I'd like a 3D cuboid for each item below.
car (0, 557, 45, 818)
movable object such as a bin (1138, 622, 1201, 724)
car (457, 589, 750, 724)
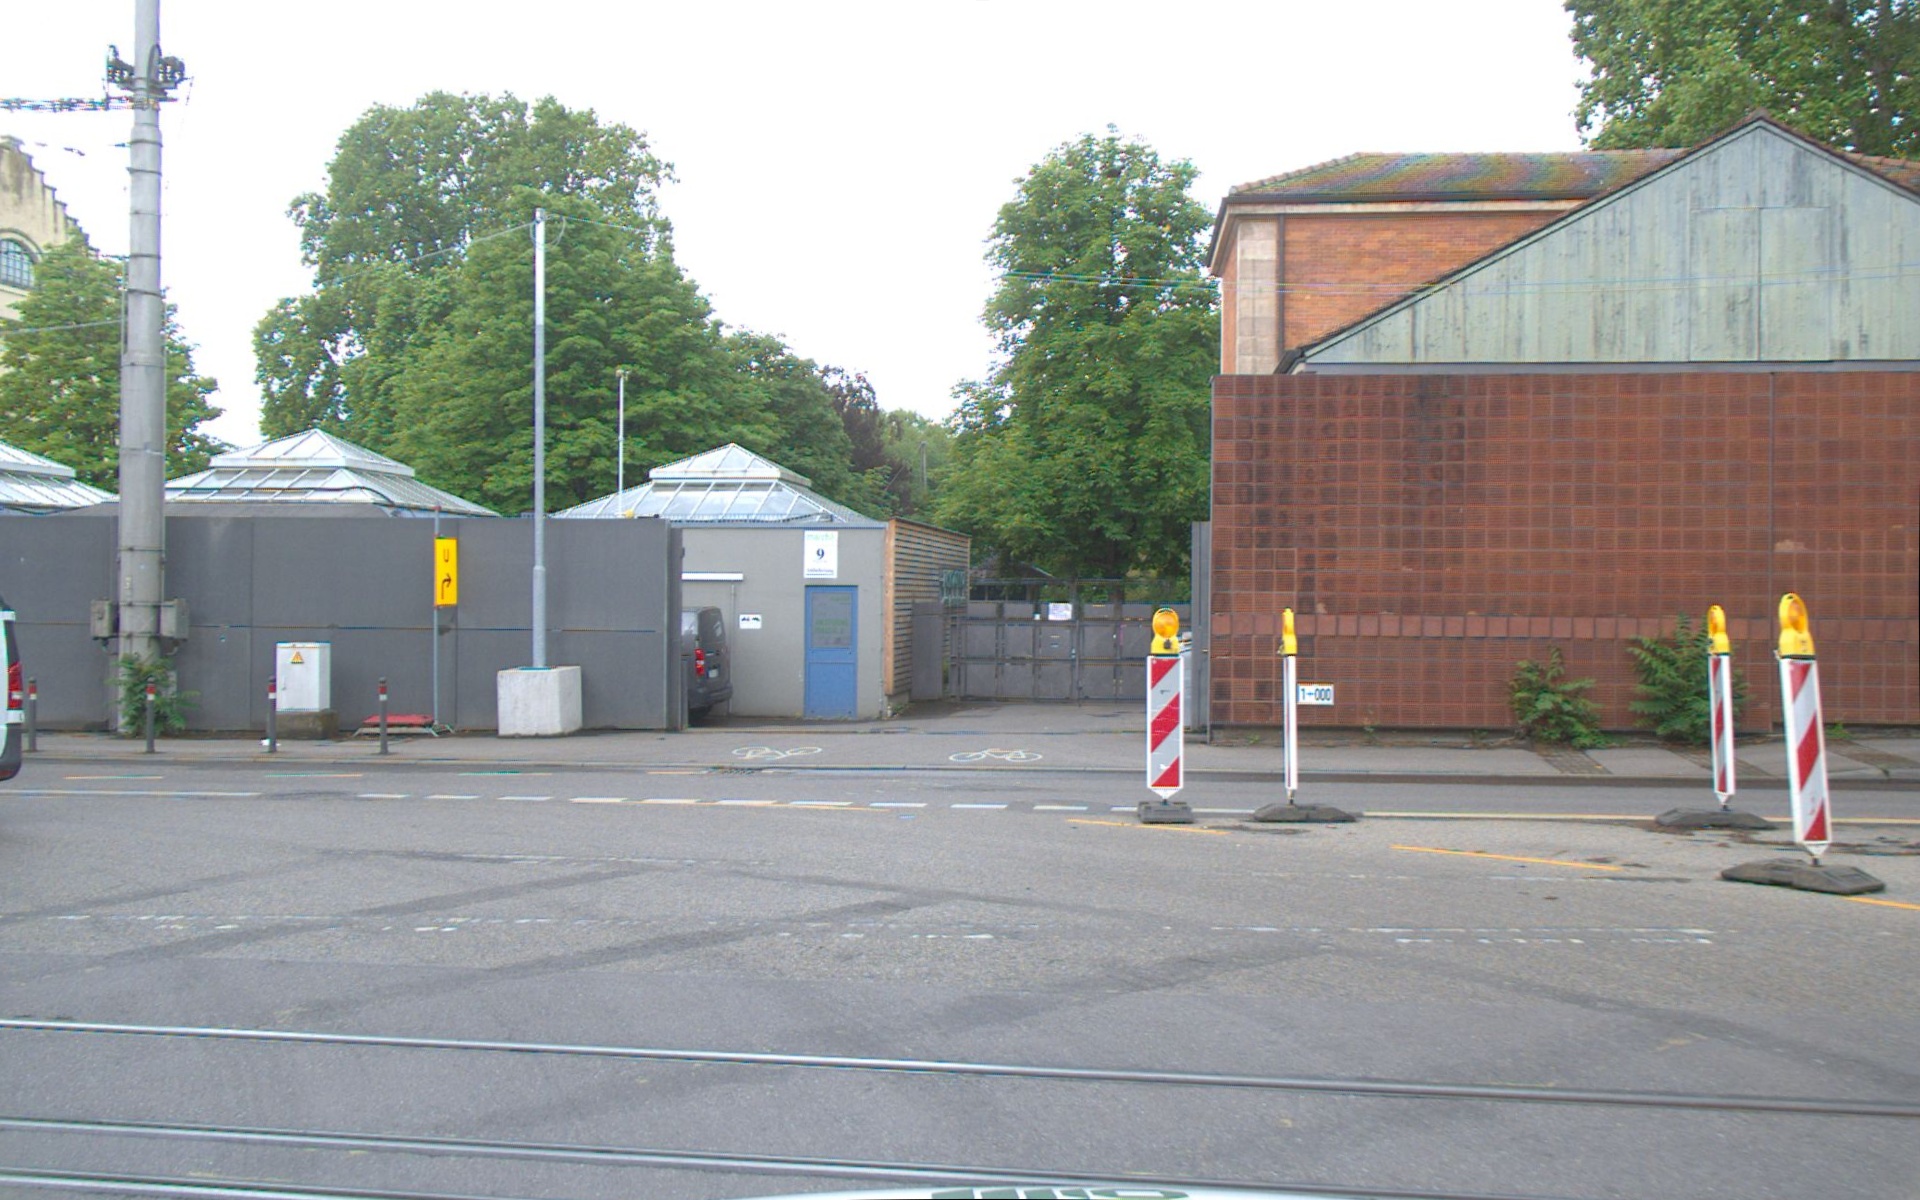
[{"bbox_3d":[-9.403,0.757,12.936,4.601,1.935,1.919,-3,-2,32],"label":"car"},{"bbox_3d":[2.879,0.992,22.667,0.830,1.364,0.801,-1,-1,8],"label":"movable object such as a bin"},{"bbox_3d":[-5.951,0.920,27.966,4.350,2.121,2.106,1,-1,6],"label":"car"}]
